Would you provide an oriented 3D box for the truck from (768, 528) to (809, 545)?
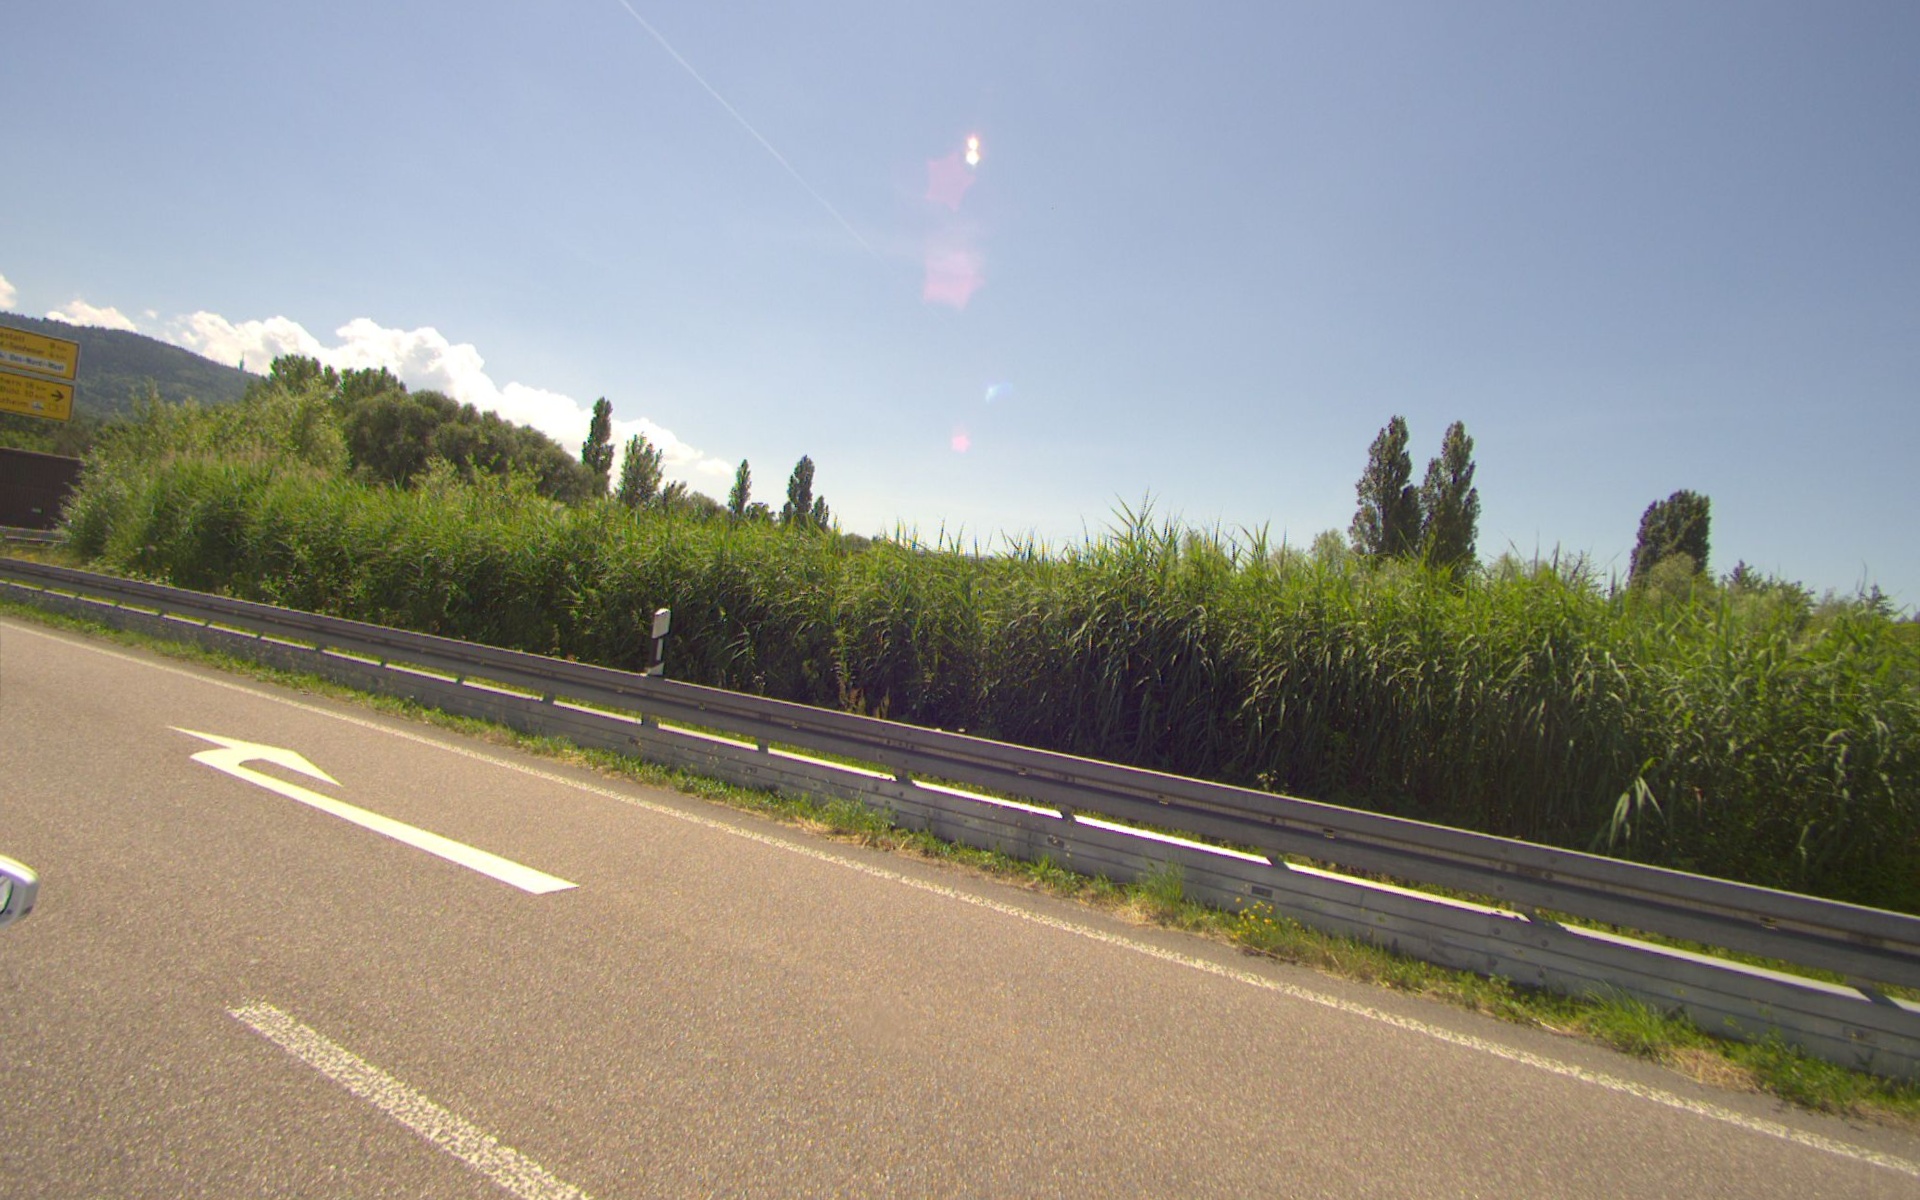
[{"bbox_3d":[-29.066,-10.774,170.665,6.806,2.037,2.347,6,-1,32],"label":"truck"}]
